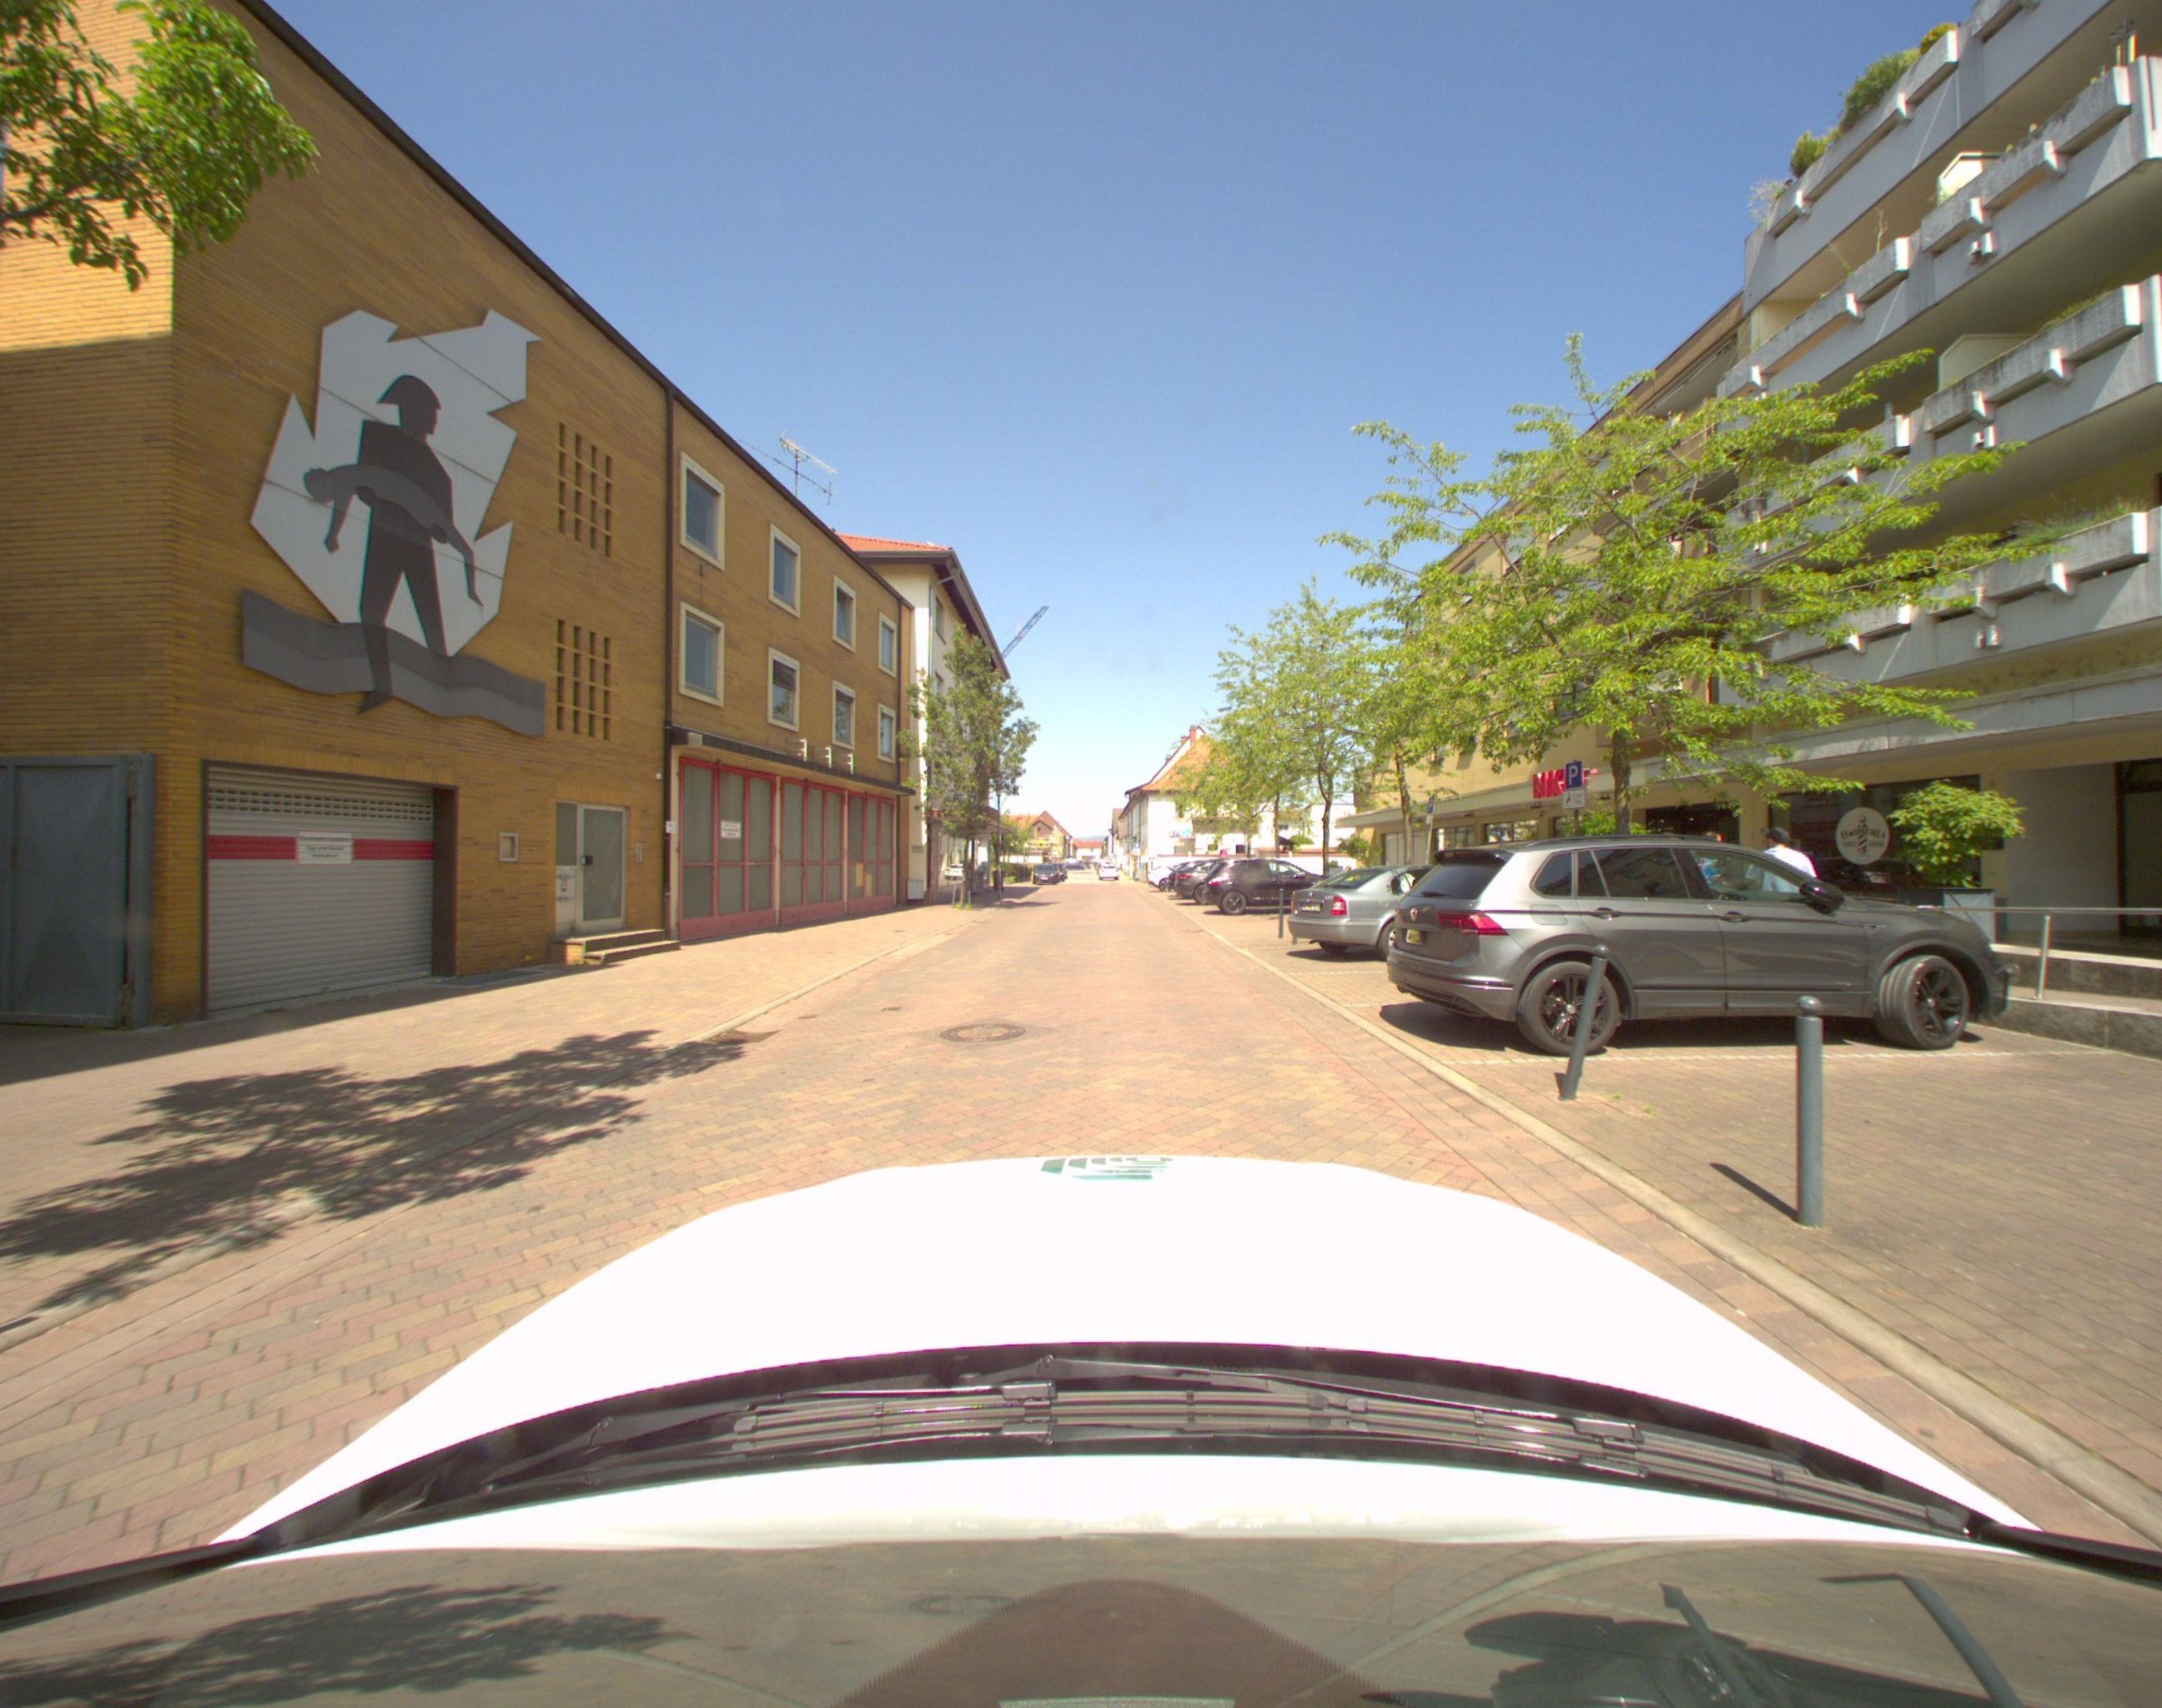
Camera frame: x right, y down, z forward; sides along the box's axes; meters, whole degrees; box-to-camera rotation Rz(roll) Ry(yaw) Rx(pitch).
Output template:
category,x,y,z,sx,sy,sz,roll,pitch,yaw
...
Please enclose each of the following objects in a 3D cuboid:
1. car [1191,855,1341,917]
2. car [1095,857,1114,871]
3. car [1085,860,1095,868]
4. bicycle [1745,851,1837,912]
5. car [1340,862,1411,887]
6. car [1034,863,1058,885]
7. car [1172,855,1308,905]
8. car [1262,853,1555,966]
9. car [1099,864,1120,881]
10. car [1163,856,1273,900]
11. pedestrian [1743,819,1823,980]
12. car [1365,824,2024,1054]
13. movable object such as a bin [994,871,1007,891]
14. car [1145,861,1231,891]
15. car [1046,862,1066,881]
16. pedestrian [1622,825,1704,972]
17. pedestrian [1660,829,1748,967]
category,x,y,z,sx,sy,sz,roll,pitch,yaw
car,5.339,0.904,23.832,4.011,1.612,1.682,-2,1,2
car,2.799,1.172,97.926,1.880,1.556,3.891,-4,0,-2
car,1.887,2.091,170.800,1.875,1.668,4.152,0,0,0
bicycle,13.023,0.499,14.985,0.360,1.067,1.307,1,-1,-14
car,17.506,1.219,48.515,3.601,1.452,1.655,0,0,1
car,-2.539,1.434,59.590,1.698,1.497,3.853,0,0,-3
car,5.508,0.894,28.734,4.488,1.588,1.852,-1,-1,3
car,5.367,0.811,13.357,4.391,1.463,1.876,-2,0,-23
car,2.767,1.745,78.182,1.879,1.542,4.246,0,0,3
car,5.664,0.973,34.063,4.266,1.681,2.000,-1,-1,-1
pedestrian,7.890,0.491,9.178,0.608,1.731,0.652,0,-2,35
car,4.819,0.629,6.860,4.230,1.618,1.756,-1,-1,0
movable object such as a bin,-4.337,1.429,43.775,0.654,1.070,0.662,1,-1,-5
car,5.741,1.200,44.128,4.428,1.576,1.787,0,-1,-2
car,-2.131,1.519,71.141,1.632,1.629,3.767,0,0,0
pedestrian,7.414,0.551,10.386,0.628,1.796,0.602,0,-1,-20
pedestrian,8.278,0.570,10.840,0.629,1.773,0.685,0,-1,-6
